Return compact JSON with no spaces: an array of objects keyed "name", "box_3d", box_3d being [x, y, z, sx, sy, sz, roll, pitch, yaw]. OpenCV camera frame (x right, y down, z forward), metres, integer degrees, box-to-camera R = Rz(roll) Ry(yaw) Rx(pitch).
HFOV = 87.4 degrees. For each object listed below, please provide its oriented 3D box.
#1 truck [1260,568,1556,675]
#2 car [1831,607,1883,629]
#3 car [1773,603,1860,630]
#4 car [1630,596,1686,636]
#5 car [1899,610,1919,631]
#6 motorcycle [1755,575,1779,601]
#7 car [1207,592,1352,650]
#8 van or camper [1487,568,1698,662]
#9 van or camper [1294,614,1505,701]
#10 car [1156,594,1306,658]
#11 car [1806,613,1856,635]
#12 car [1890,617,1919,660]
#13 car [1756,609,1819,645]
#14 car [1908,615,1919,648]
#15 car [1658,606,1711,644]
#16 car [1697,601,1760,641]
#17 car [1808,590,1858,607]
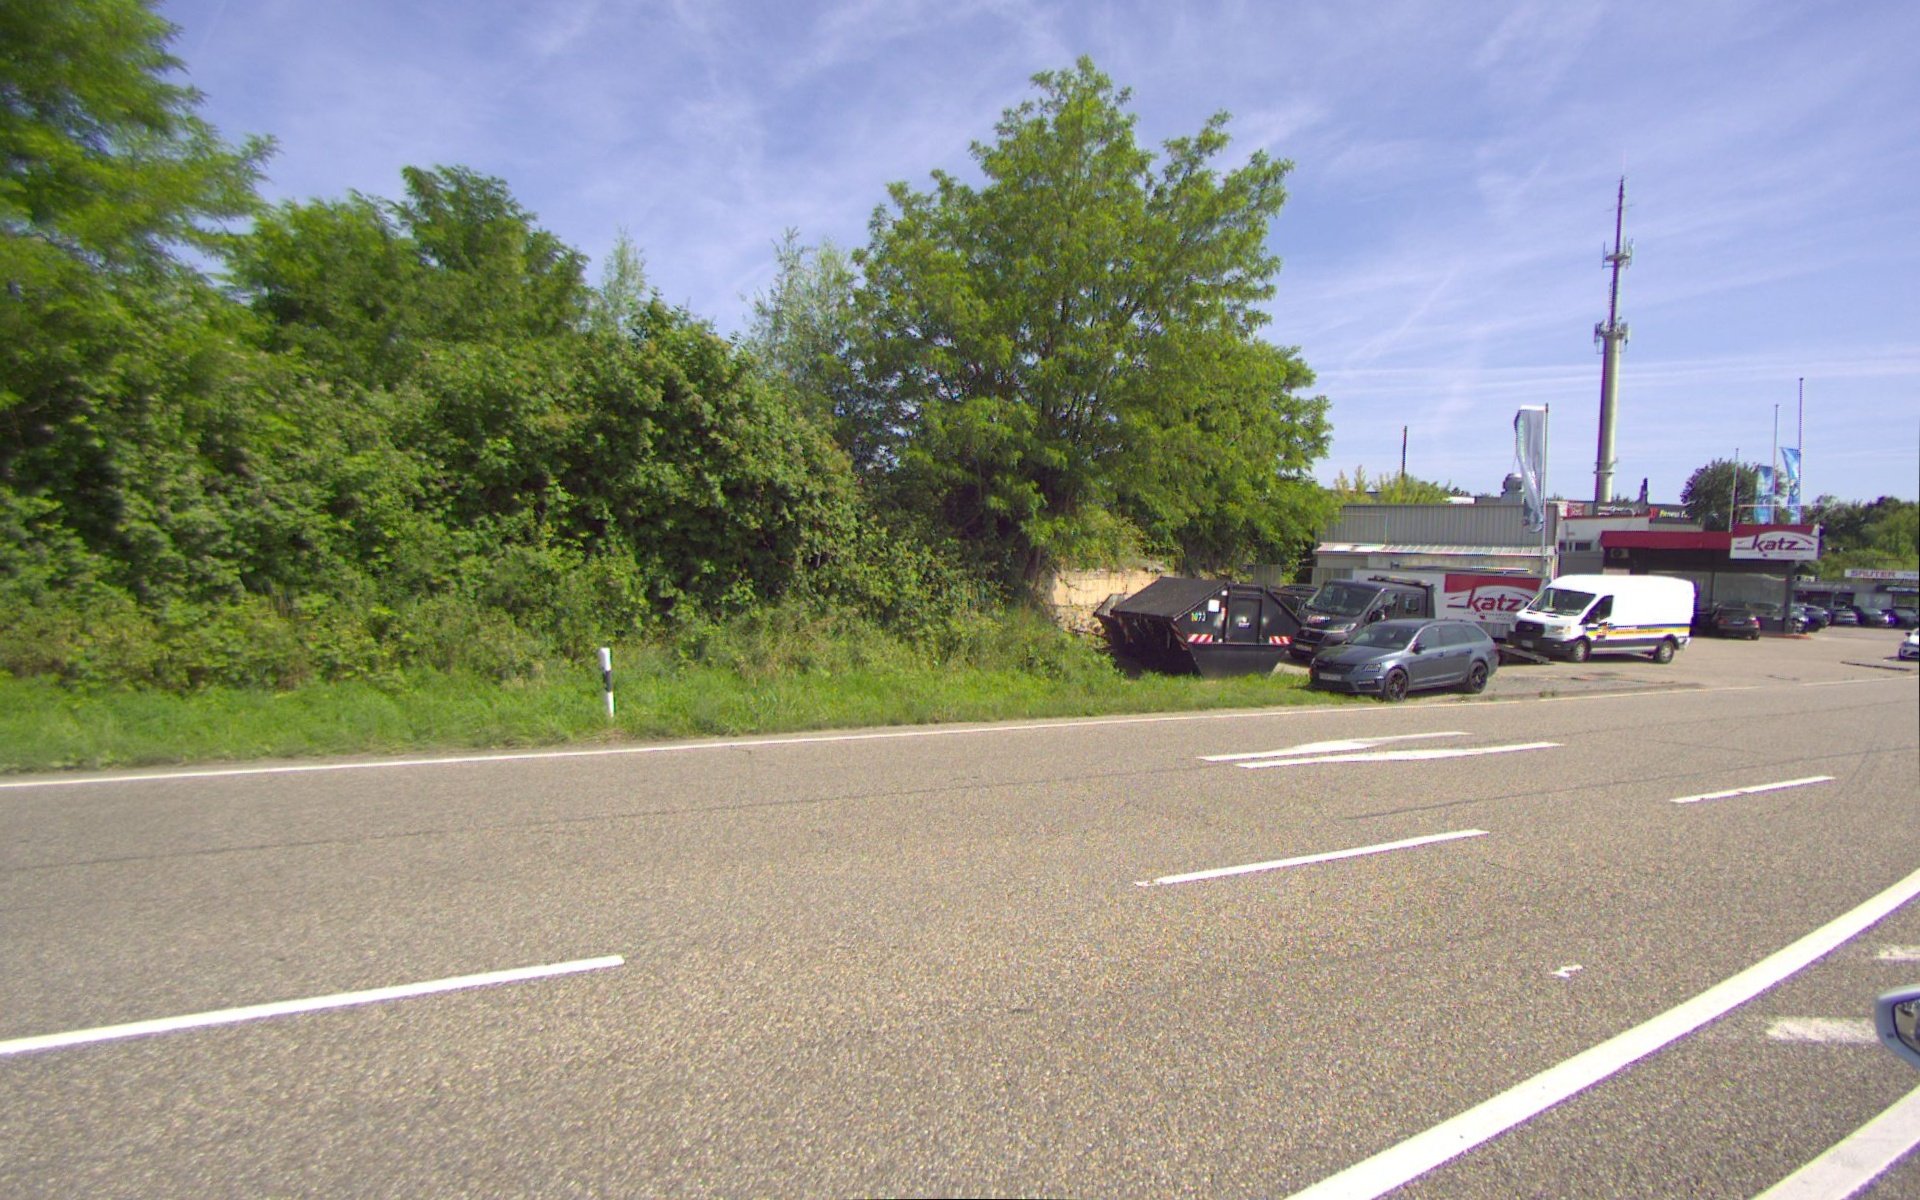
[{"name":"truck","box_3d":[11.984,0.541,26.514,8.698,2.328,2.319,1,5,-30]},{"name":"car","box_3d":[70.842,1.407,79.373,1.734,1.609,3.828,1,0,21]},{"name":"car","box_3d":[54.007,1.027,63.404,3.881,1.553,1.765,1,0,31]},{"name":"car","box_3d":[33.610,0.736,48.462,1.827,1.525,3.990,6,5,30]},{"name":"car","box_3d":[75.708,1.598,78.689,1.734,1.609,3.828,1,0,21]},{"name":"motorcycle","box_3d":[42.569,-0.624,52.991,0.759,1.278,2.049,1,0,33]},{"name":"car","box_3d":[9.278,0.557,29.278,3.613,1.489,1.732,2,1,38]},{"name":"van or camper","box_3d":[19.045,0.468,30.259,5.862,2.533,2.150,1,4,-21]},{"name":"van or camper","box_3d":[8.960,1.117,20.388,4.416,1.545,1.631,1,2,-31]},{"name":"car","box_3d":[7.385,0.660,27.602,1.705,1.531,3.624,1,1,-43]},{"name":"car","box_3d":[68.827,1.895,79.405,1.734,1.609,3.828,1,0,21]},{"name":"car","box_3d":[38.323,1.521,39.476,3.959,1.639,1.768,1,1,-34]},{"name":"car","box_3d":[46.079,1.488,55.990,1.795,1.696,4.121,8,3,29]},{"name":"car","box_3d":[46.093,1.499,45.930,1.830,1.546,3.767,1,1,-37]},{"name":"car","box_3d":[38.352,1.270,53.260,1.674,1.782,3.754,5,3,29]},{"name":"car","box_3d":[36.078,0.936,47.258,1.827,1.525,4.384,5,5,32]},{"name":"car","box_3d":[76.838,-0.141,88.422,1.701,1.470,3.751,2,1,13]}]
